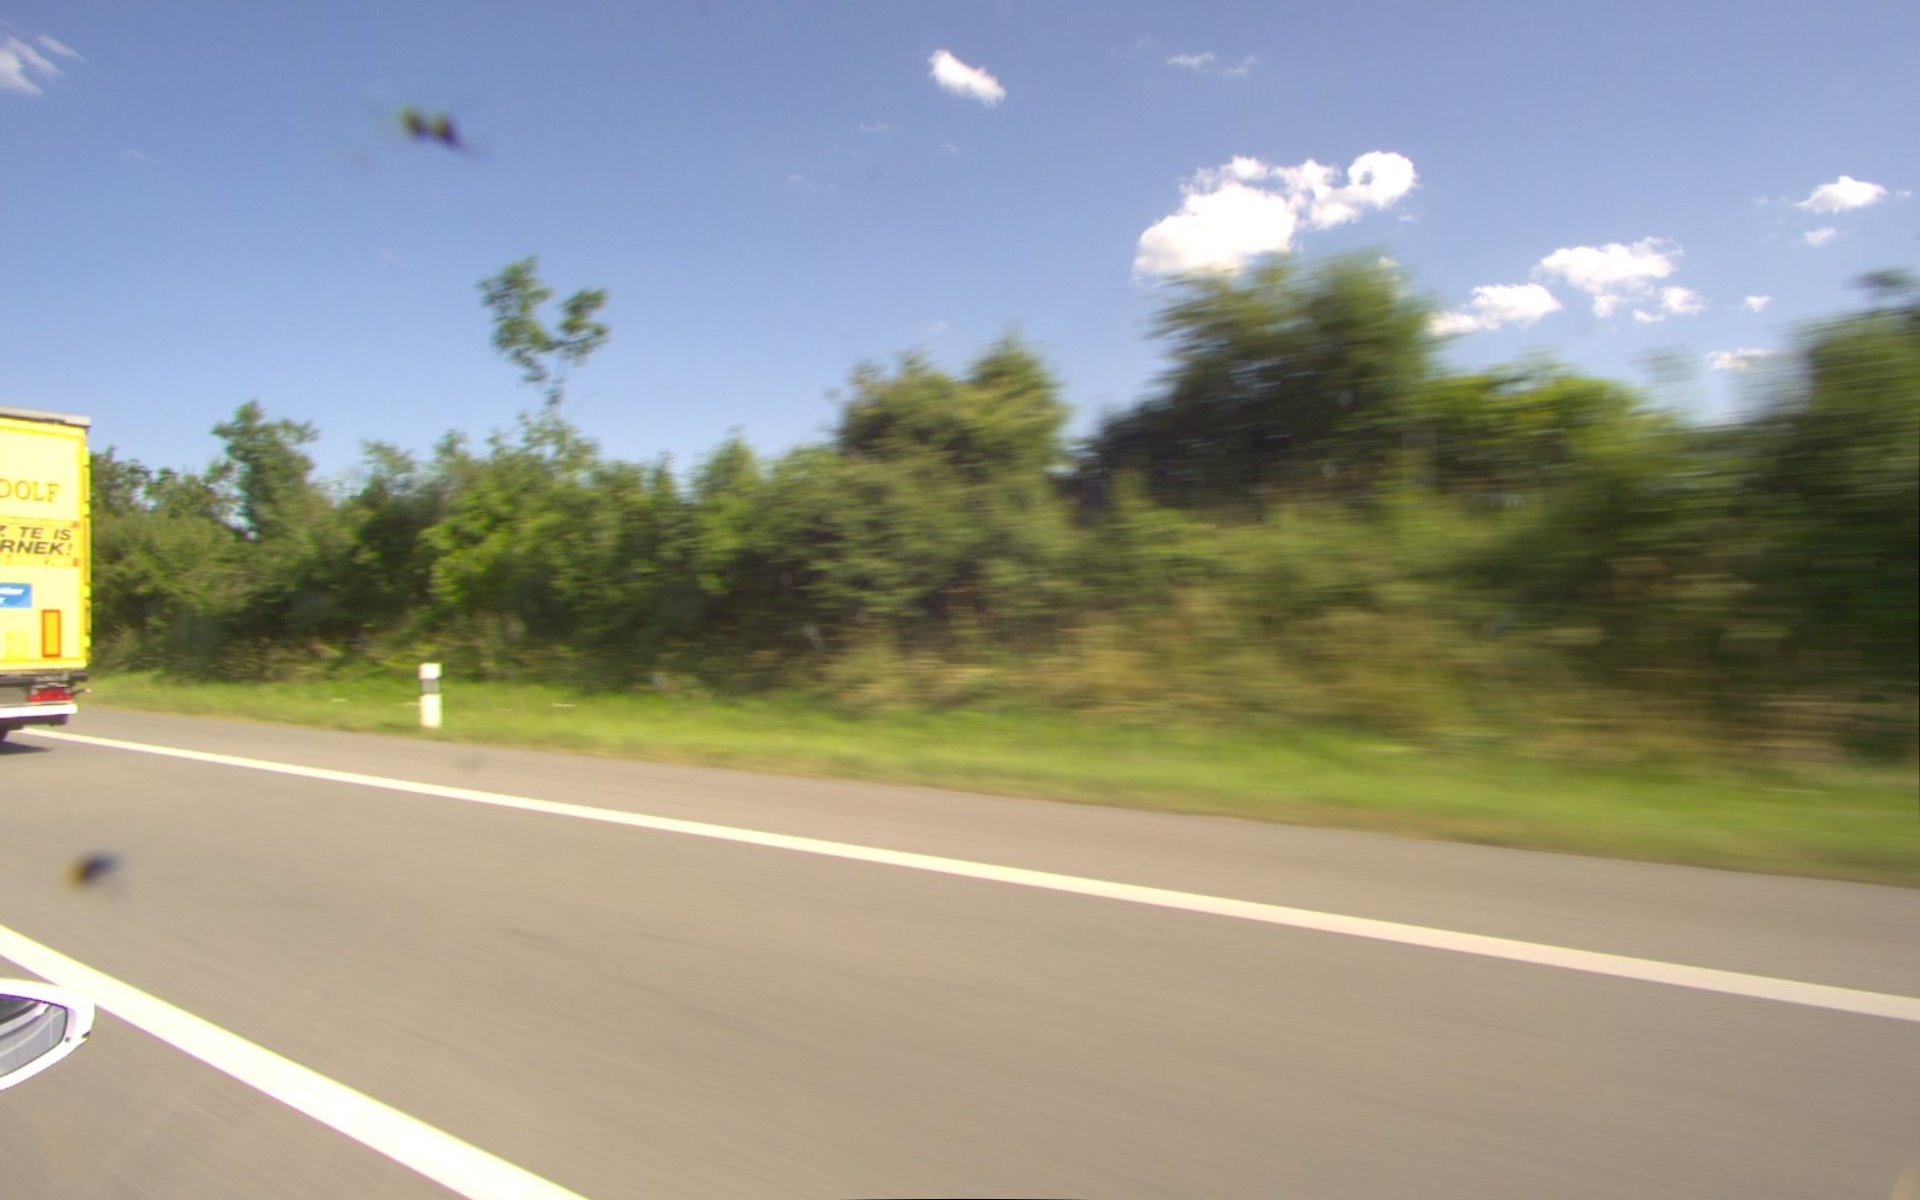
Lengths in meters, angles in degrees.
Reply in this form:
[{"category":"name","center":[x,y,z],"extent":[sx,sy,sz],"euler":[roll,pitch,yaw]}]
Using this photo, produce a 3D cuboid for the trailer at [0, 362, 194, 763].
[{"category":"trailer","center":[-15.272,-0.261,13.829],"extent":[12.999,4.111,3.179],"euler":[-1,-2,33]}]
